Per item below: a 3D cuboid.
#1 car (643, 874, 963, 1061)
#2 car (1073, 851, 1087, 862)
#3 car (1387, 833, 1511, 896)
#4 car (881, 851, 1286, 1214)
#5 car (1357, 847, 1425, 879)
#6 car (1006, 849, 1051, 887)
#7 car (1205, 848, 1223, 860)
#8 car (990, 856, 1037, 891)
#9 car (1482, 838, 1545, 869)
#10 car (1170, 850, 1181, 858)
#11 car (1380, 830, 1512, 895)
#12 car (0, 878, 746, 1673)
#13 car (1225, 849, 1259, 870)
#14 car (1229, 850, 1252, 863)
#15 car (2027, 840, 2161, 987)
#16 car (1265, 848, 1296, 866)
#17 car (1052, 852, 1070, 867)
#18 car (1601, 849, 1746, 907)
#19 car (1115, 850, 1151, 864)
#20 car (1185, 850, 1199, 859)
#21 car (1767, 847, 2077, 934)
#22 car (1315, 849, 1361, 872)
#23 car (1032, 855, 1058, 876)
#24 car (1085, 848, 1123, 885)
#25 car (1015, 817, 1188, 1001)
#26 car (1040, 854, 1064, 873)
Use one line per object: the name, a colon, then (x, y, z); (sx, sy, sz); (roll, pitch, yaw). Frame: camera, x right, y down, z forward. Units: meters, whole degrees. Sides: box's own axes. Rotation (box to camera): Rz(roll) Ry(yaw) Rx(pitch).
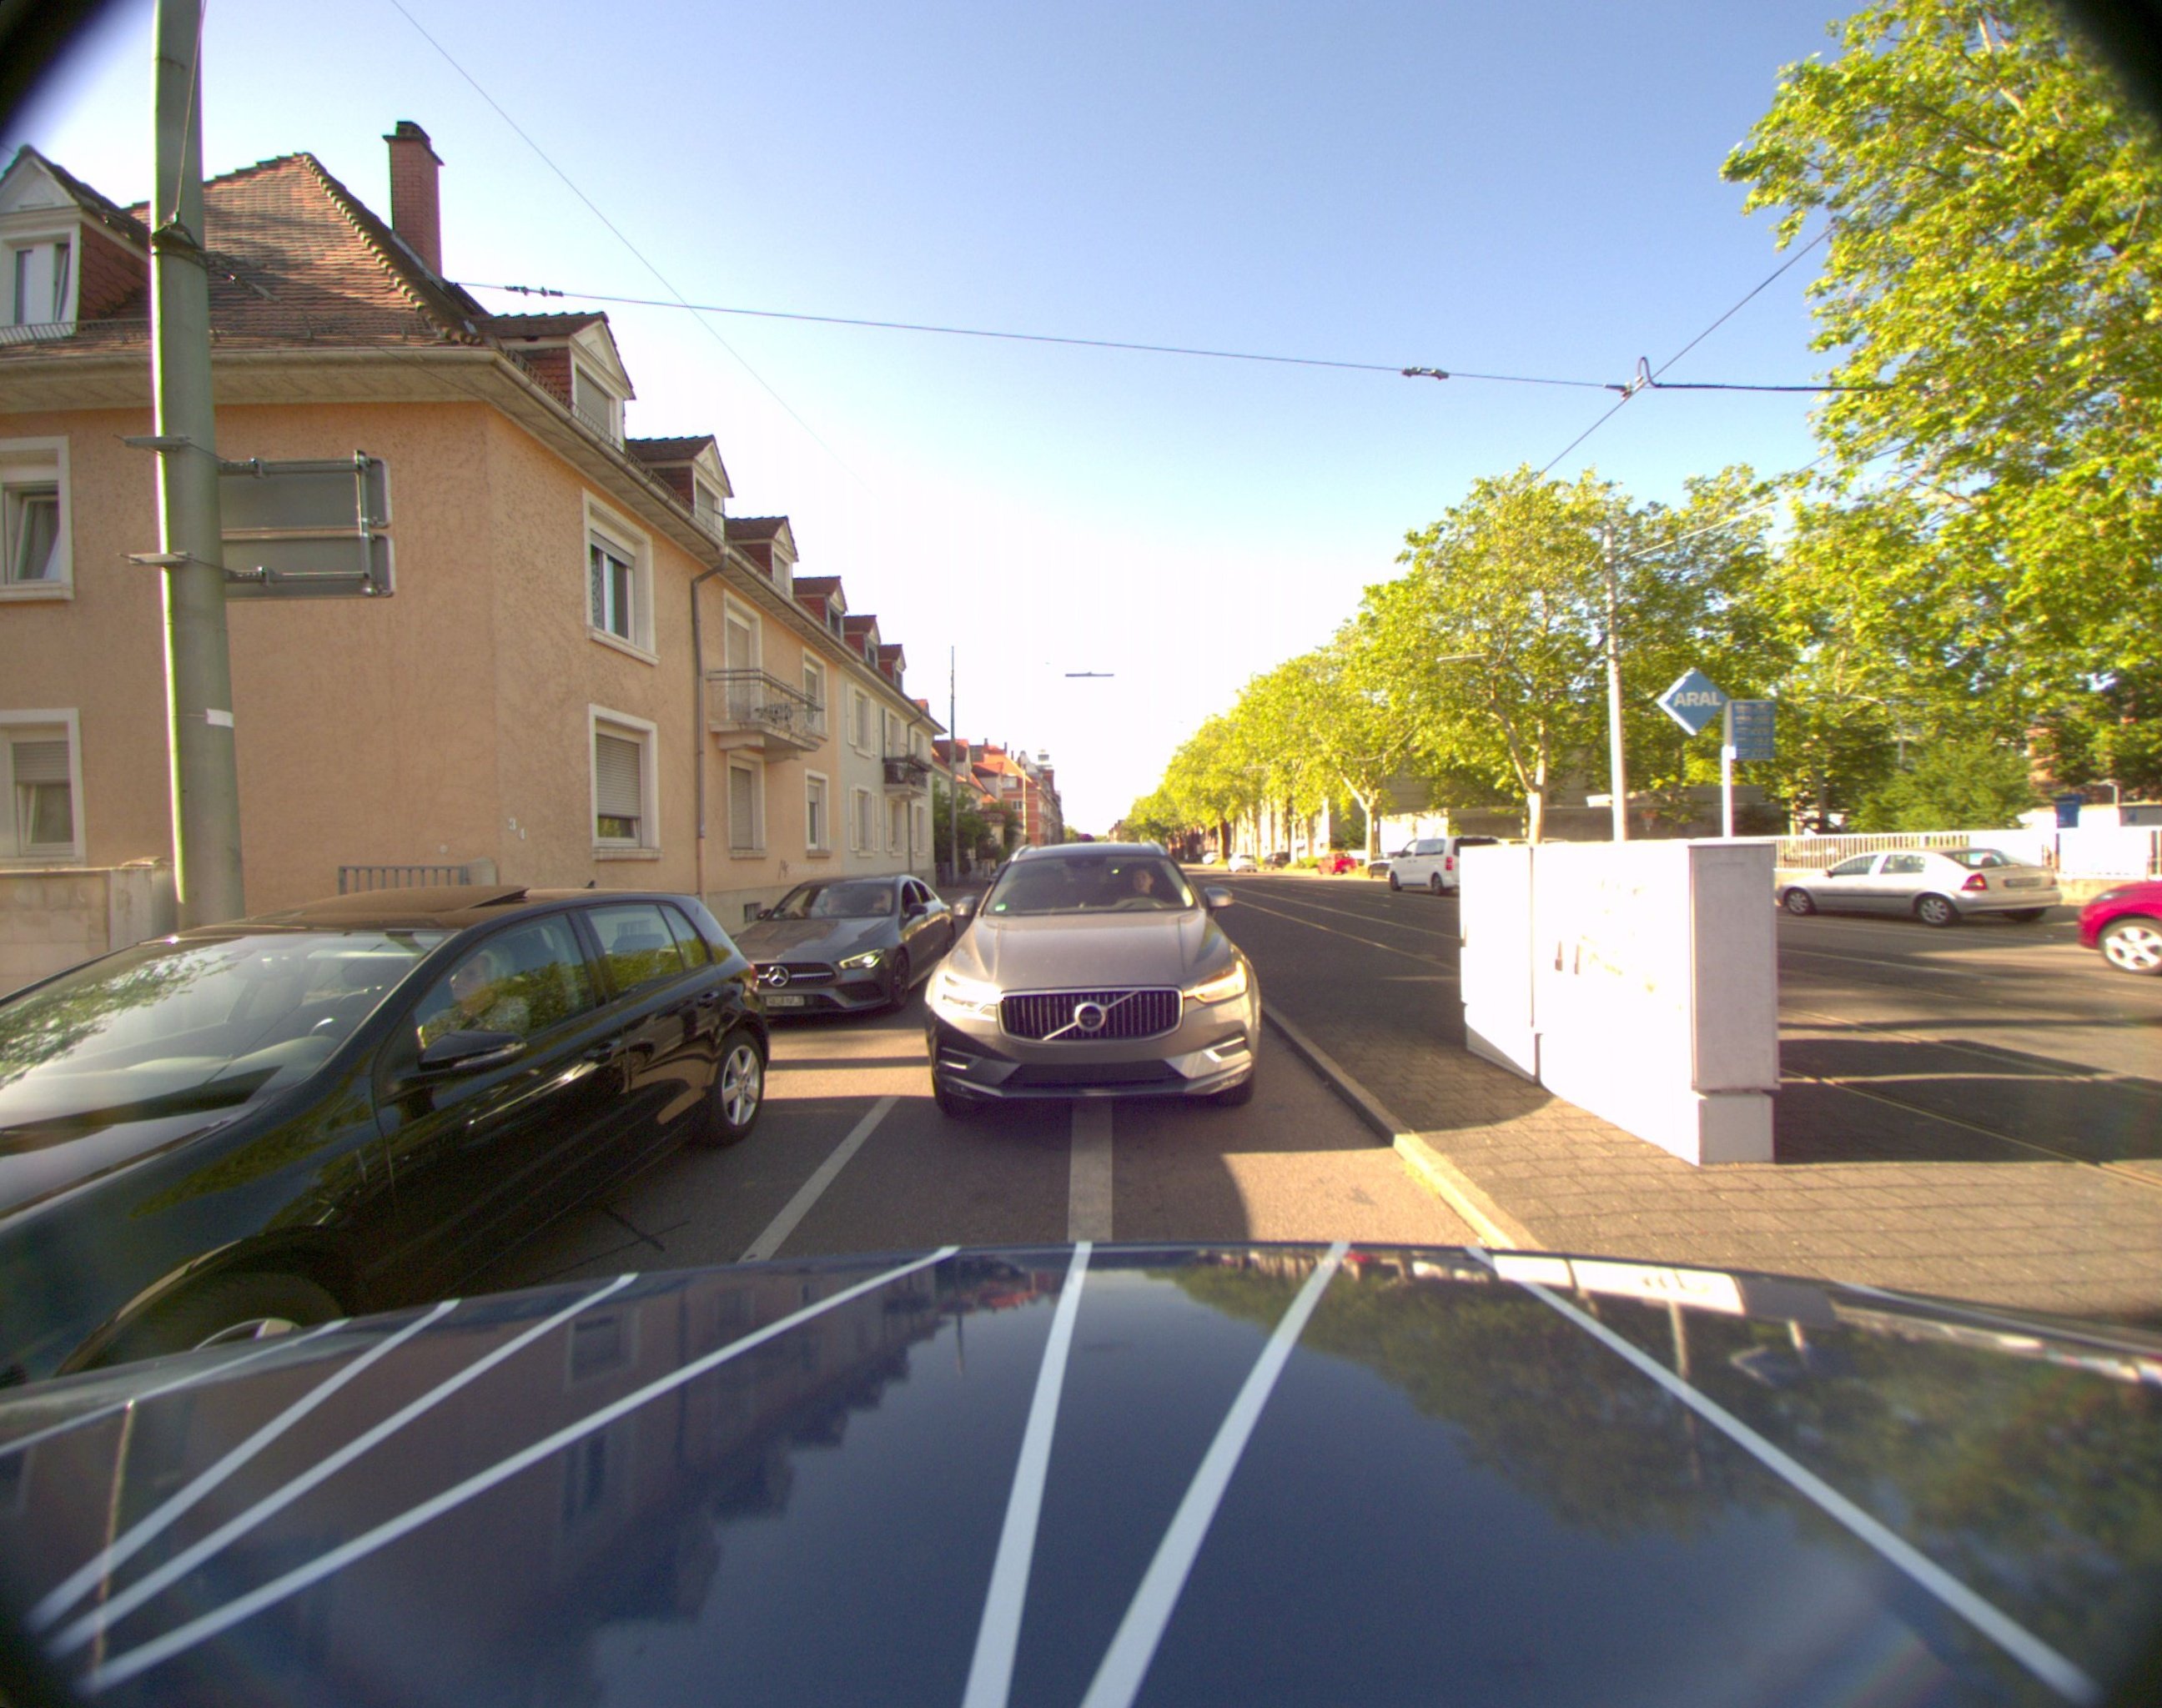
car: (-2.788, 1.058, 8.891); (1.911, 1.411, 4.492); (-2, 1, 2)
car: (-0.161, 0.293, 106.486); (1.841, 1.449, 3.999); (-2, 1, 1)
car: (11.835, 0.291, 24.780); (1.850, 1.835, 4.394); (-1, 1, -1)
car: (0.020, 0.863, 6.080); (1.912, 1.666, 4.763); (-2, 1, 0)
car: (16.901, 0.458, 41.650); (1.753, 1.514, 4.434); (-5, 1, -1)
car: (-2.899, 0.736, 43.578); (1.937, 1.888, 7.210); (-2, 1, 1)
car: (17.661, 0.028, 100.781); (1.700, 1.548, 3.999); (-1, 1, 1)
car: (-3.245, 0.908, 37.097); (1.841, 1.449, 3.999); (-2, 1, 1)
car: (21.717, -0.050, 38.282); (1.545, 1.412, 3.151); (-2, 1, 4)
car: (18.585, -0.048, 149.514); (1.700, 1.401, 3.999); (-1, 1, 1)
car: (11.824, 0.325, 25.081); (1.887, 1.863, 5.115); (-2, -1, 1)
car: (-2.956, 0.885, 2.598); (1.733, 1.499, 4.051); (-2, -1, 1)
car: (12.440, 0.411, 58.999); (1.764, 1.487, 3.999); (-2, 1, 1)
car: (17.514, 0.267, 83.520); (1.700, 1.401, 3.999); (-1, 1, 1)
car: (11.191, 0.601, 6.288); (1.700, 1.412, 3.999); (1, 1, 1)
car: (17.283, 0.242, 65.912); (1.700, 1.401, 3.999); (-1, 1, 1)
car: (-2.184, 0.603, 85.434); (1.841, 1.449, 3.999); (-2, 1, 1)
car: (16.444, 0.612, 21.283); (1.546, 1.412, 3.254); (-2, 1, 1)
car: (5.837, 0.296, 85.276); (1.845, 1.449, 3.989); (-3, 1, -37)
car: (18.329, 0.046, 125.559); (1.700, 1.401, 3.999); (-1, 1, 1)
car: (16.237, 0.612, 15.035); (1.731, 1.412, 3.999); (-2, 1, 1)
car: (16.984, 0.415, 50.354); (1.700, 1.460, 3.999); (-1, 1, 1)
car: (-2.828, 0.902, 60.587); (1.841, 1.449, 3.999); (-2, 1, 1)
car: (1.226, 0.612, 41.206); (1.866, 1.794, 4.778); (-2, 1, 1)
car: (0.237, 0.606, 11.120); (1.912, 2.048, 4.763); (-2, 1, 0)
car: (-2.533, 0.820, 66.996); (1.841, 1.449, 3.999); (-2, 1, 1)
